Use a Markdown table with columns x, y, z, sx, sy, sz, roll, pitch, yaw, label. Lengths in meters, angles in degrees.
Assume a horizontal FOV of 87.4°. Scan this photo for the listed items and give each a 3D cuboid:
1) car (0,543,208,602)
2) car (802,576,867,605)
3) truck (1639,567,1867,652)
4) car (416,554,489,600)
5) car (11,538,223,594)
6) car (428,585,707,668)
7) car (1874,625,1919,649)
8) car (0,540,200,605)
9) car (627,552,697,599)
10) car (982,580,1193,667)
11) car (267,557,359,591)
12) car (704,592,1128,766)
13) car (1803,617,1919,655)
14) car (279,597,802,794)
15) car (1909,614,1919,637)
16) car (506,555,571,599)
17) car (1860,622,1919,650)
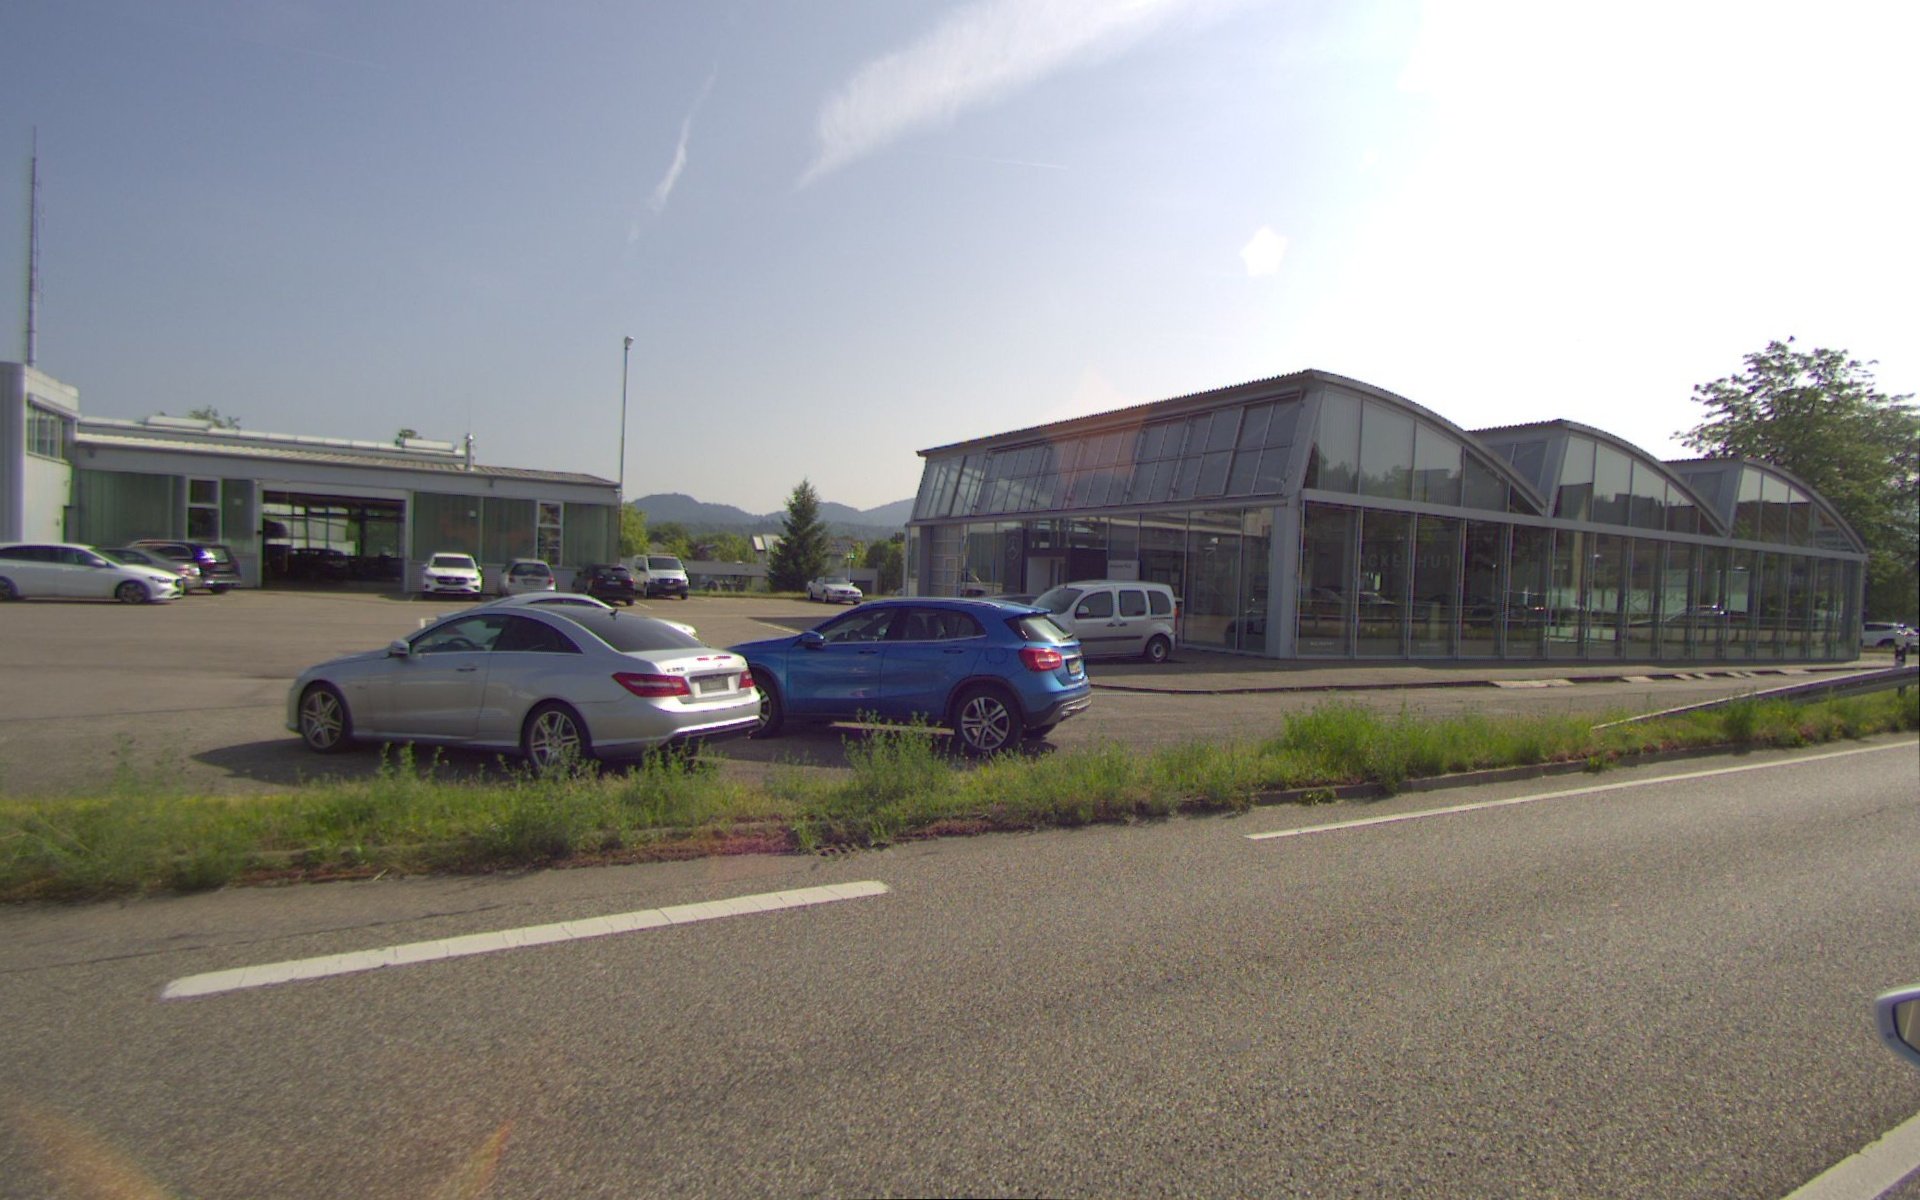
| x | y | z | sx | sy | sz | roll | pitch | yaw | label |
| --- | --- | --- | --- | --- | --- | --- | --- | --- | --- |
| -24.890 | -0.768 | 29.084 | 4.773 | 1.587 | 1.797 | 0 | 2 | -30 | car |
| -6.346 | -0.505 | 50.495 | 1.883 | 1.307 | 4.801 | 1 | 1 | -25 | car |
| 37.348 | 0.384 | 47.574 | 8.045 | 3.604 | 2.808 | 2 | 1 | 8 | truck |
| -18.692 | -0.854 | 37.187 | 2.181 | 1.587 | 4.801 | 0 | 1 | -25 | car |
| -26.032 | -1.022 | 31.263 | 4.773 | 1.587 | 1.797 | 0 | 2 | -30 | car |
| -7.450 | 0.456 | 19.200 | 4.773 | 1.405 | 1.797 | 0 | 1 | -30 | car |
| 61.414 | 2.405 | 64.483 | 1.844 | 1.479 | 3.721 | 2 | 0 | -36 | car |
| -23.432 | -0.729 | 27.004 | 4.513 | 1.512 | 1.797 | 2 | 1 | -30 | car |
| -13.799 | -1.131 | 46.315 | 2.184 | 2.050 | 4.794 | 0 | 1 | -28 | car |
| 2.800 | 0.461 | 21.921 | 4.353 | 1.736 | 1.797 | 0 | 2 | -29 | car |
| -32.411 | -1.300 | 50.293 | 4.495 | 1.587 | 2.206 | 2 | 2 | 32 | car |
| -0.446 | 0.723 | 10.942 | 4.149 | 1.527 | 1.985 | 1 | 1 | 21 | car |
| 47.858 | 1.881 | 53.377 | 1.915 | 1.677 | 4.316 | 2 | 1 | -38 | car |
| -3.808 | 0.717 | 9.165 | 4.309 | 1.386 | 1.853 | 1 | 1 | 21 | car |
| 88.070 | 2.371 | 90.085 | 1.959 | 2.040 | 4.908 | 1 | 0 | 12 | car |
| -16.369 | -0.887 | 38.907 | 2.181 | 1.587 | 4.801 | 0 | 1 | -25 | car |
| 56.870 | 2.205 | 60.401 | 1.914 | 1.520 | 3.720 | 2 | 1 | -36 | car |
